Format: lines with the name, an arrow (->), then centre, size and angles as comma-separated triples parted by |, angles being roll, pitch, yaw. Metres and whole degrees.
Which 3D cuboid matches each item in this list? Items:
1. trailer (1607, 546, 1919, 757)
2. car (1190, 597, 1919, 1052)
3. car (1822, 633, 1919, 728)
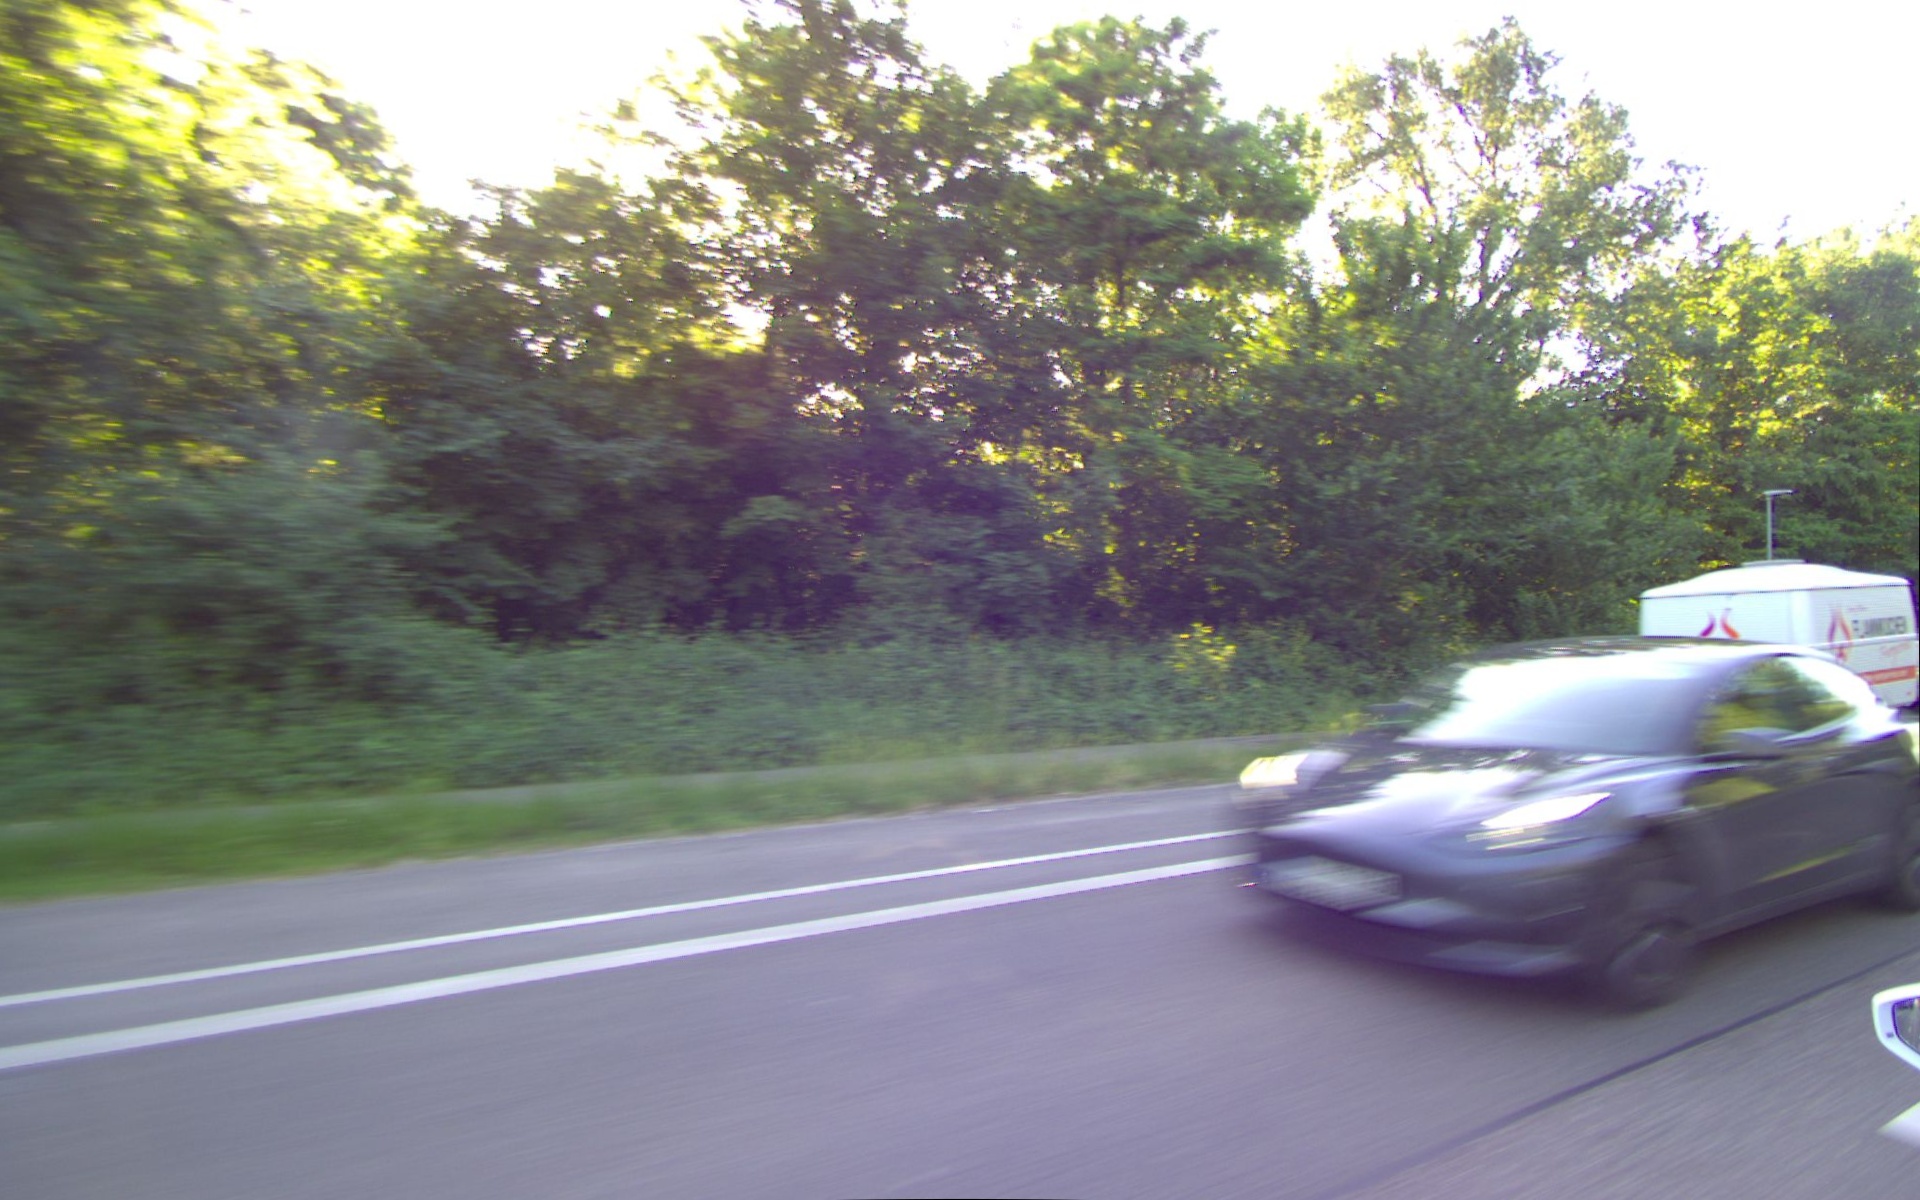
trailer -> 11.528, 0.683, 14.366 | 4.299, 2.562, 2.332 | 1, -1, -34
car -> 3.519, 0.845, 5.383 | 4.478, 1.553, 1.811 | 2, -2, -31
car -> 16.963, 1.371, 17.502 | 4.145, 1.514, 1.664 | 2, -4, -31
